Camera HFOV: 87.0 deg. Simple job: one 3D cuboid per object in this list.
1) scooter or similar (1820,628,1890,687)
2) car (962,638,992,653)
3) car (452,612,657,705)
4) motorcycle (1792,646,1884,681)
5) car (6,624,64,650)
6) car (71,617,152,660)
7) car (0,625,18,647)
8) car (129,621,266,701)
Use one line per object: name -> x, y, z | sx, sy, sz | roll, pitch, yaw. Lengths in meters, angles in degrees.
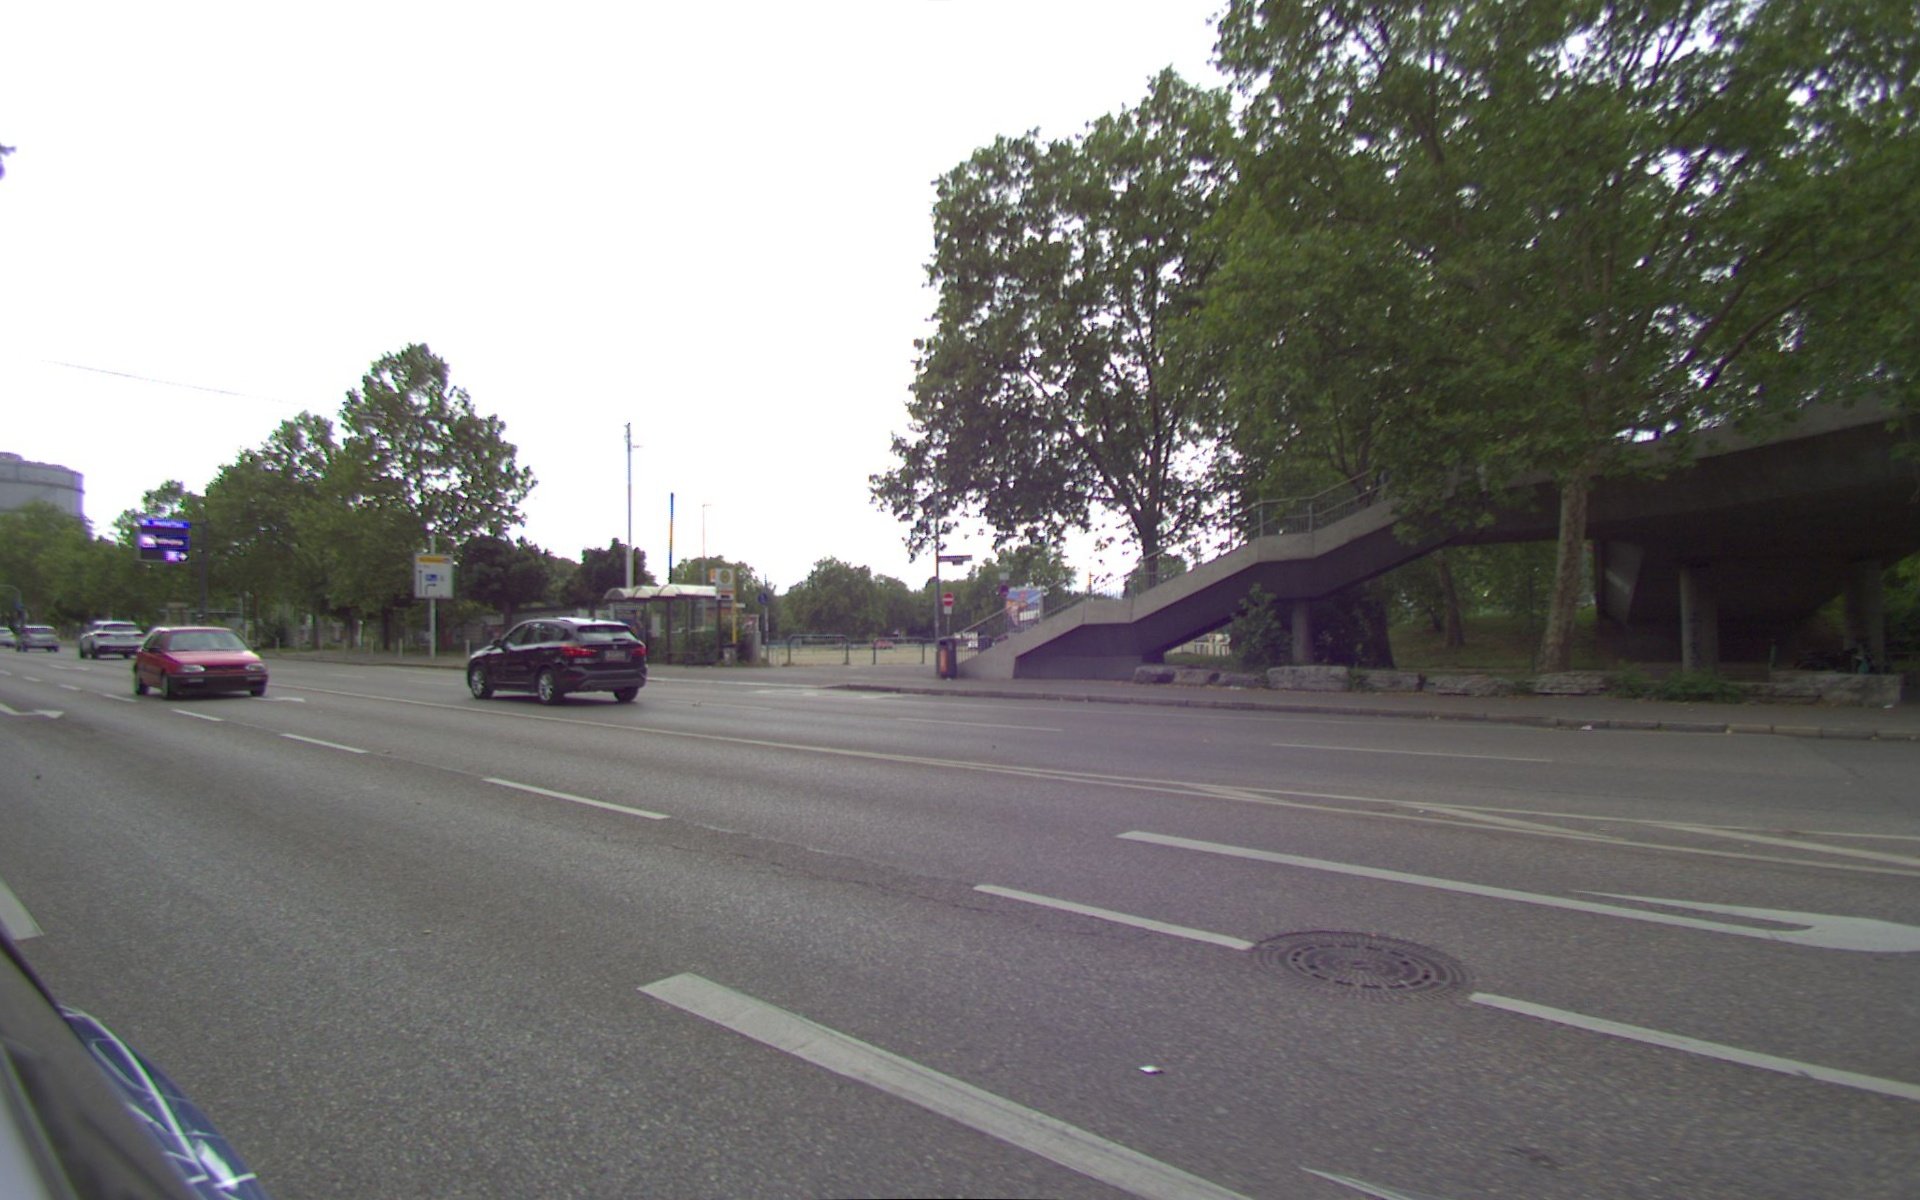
scooter or similar -> 21.262, 1.355, 24.060 | 1.227, 1.328, 0.411 | 1, -2, 41
car -> 2.135, 5.740, 127.731 | 1.994, 1.716, 3.942 | -1, 0, 33
car -> -7.960, 1.108, 19.679 | 4.423, 1.618, 1.752 | -2, -3, 39
motorcycle -> 22.980, 1.645, 26.513 | 0.640, 0.858, 1.739 | 2, -3, -43
car -> -55.612, 2.224, 60.827 | 3.996, 1.537, 1.974 | -1, -3, 39
car -> -38.150, 1.717, 45.457 | 4.592, 1.758, 1.973 | 1, -2, 40
car -> -68.424, 2.546, 71.683 | 4.382, 1.542, 1.973 | -2, -2, 41
car -> -15.821, 1.193, 20.919 | 1.807, 1.463, 4.080 | 0, -2, -44
